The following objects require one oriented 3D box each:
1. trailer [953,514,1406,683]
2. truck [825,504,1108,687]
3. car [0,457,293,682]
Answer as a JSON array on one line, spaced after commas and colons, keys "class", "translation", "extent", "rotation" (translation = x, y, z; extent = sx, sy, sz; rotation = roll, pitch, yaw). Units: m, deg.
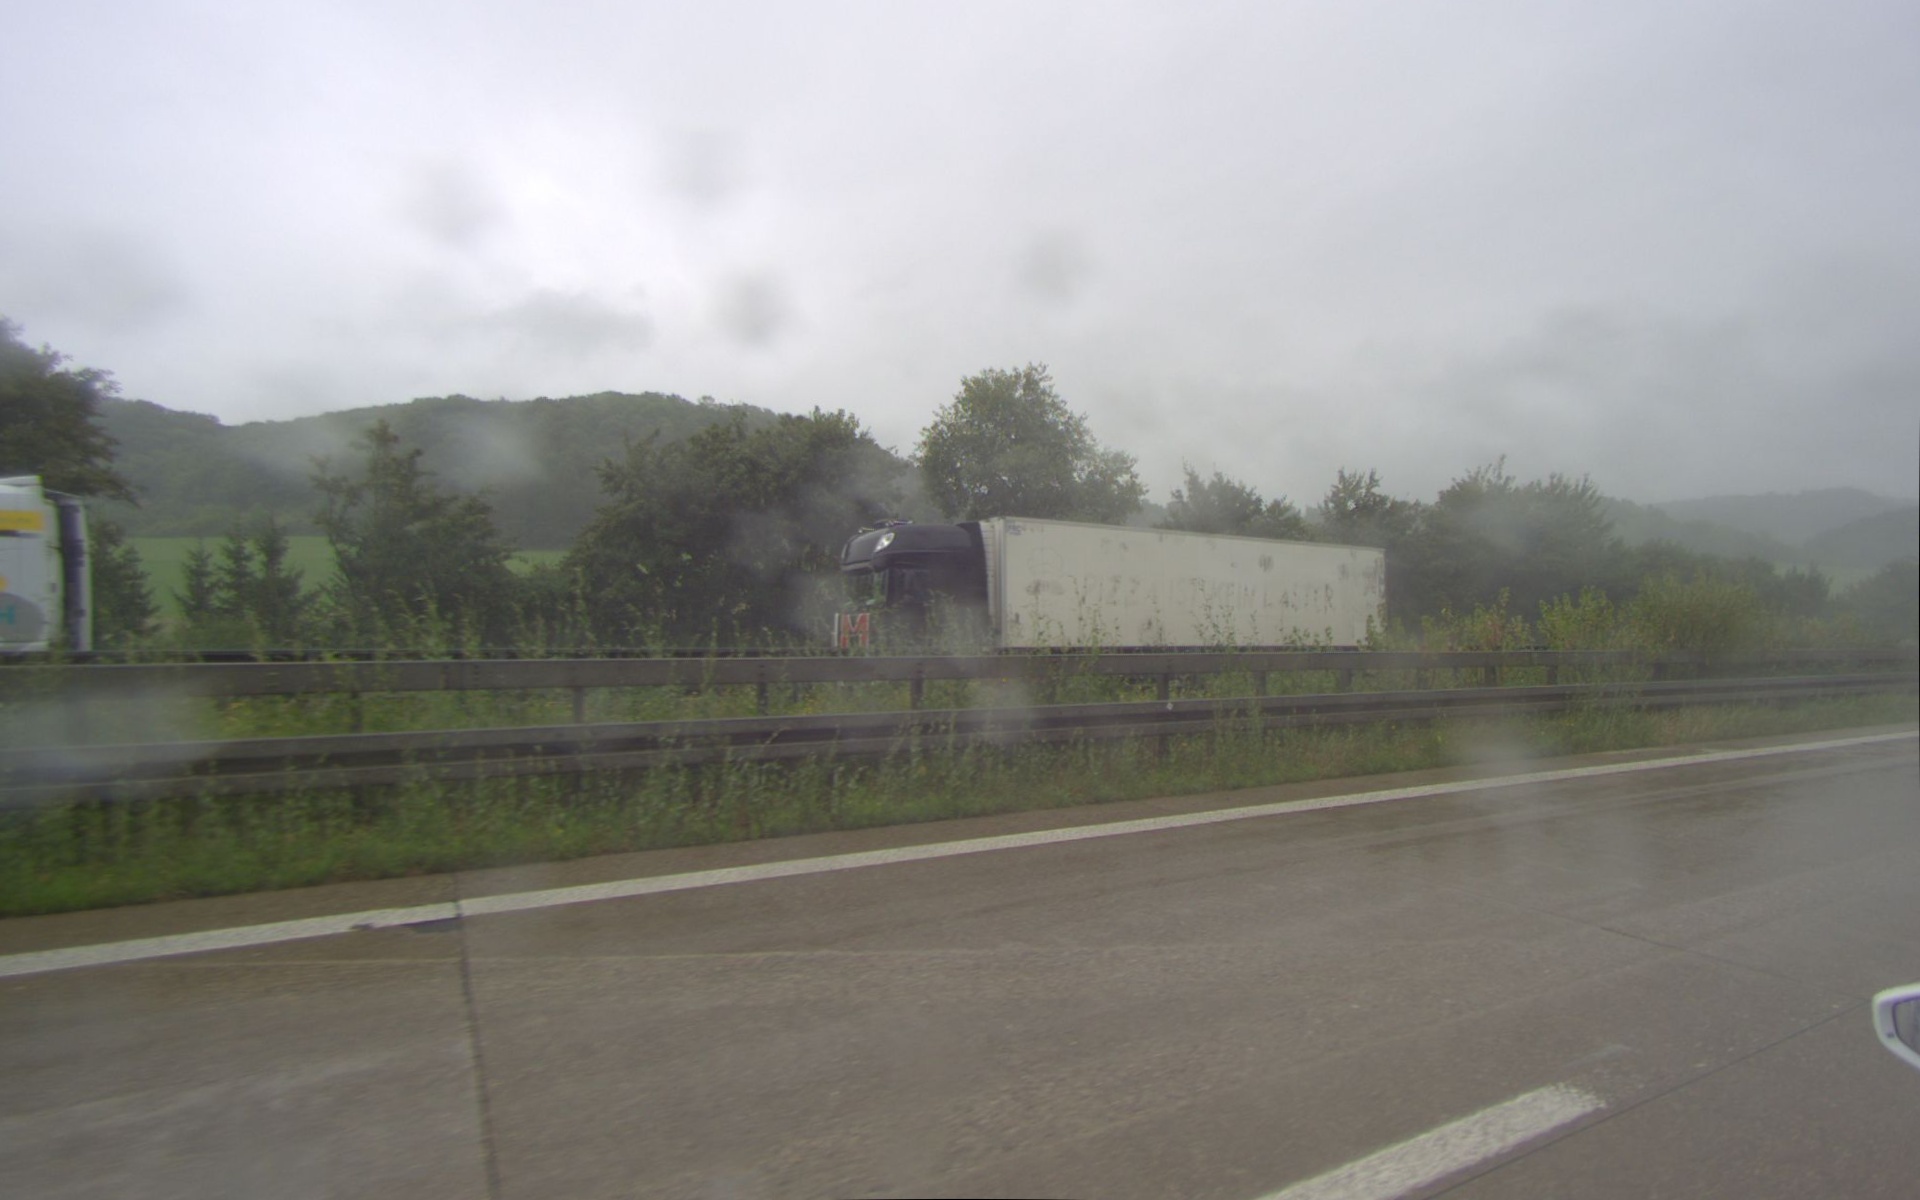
[{"class": "trailer", "translation": [6.301, 0.139, 26.242], "extent": [13.562, 3.589, 2.835], "rotation": [2, 0, -33]}, {"class": "truck", "translation": [0.204, -0.034, 22.264], "extent": [5.669, 3.556, 2.798], "rotation": [1, -1, -33]}, {"class": "car", "translation": [-15.051, -0.452, 15.644], "extent": [7.511, 3.286, 2.785], "rotation": [1, -1, -30]}]
